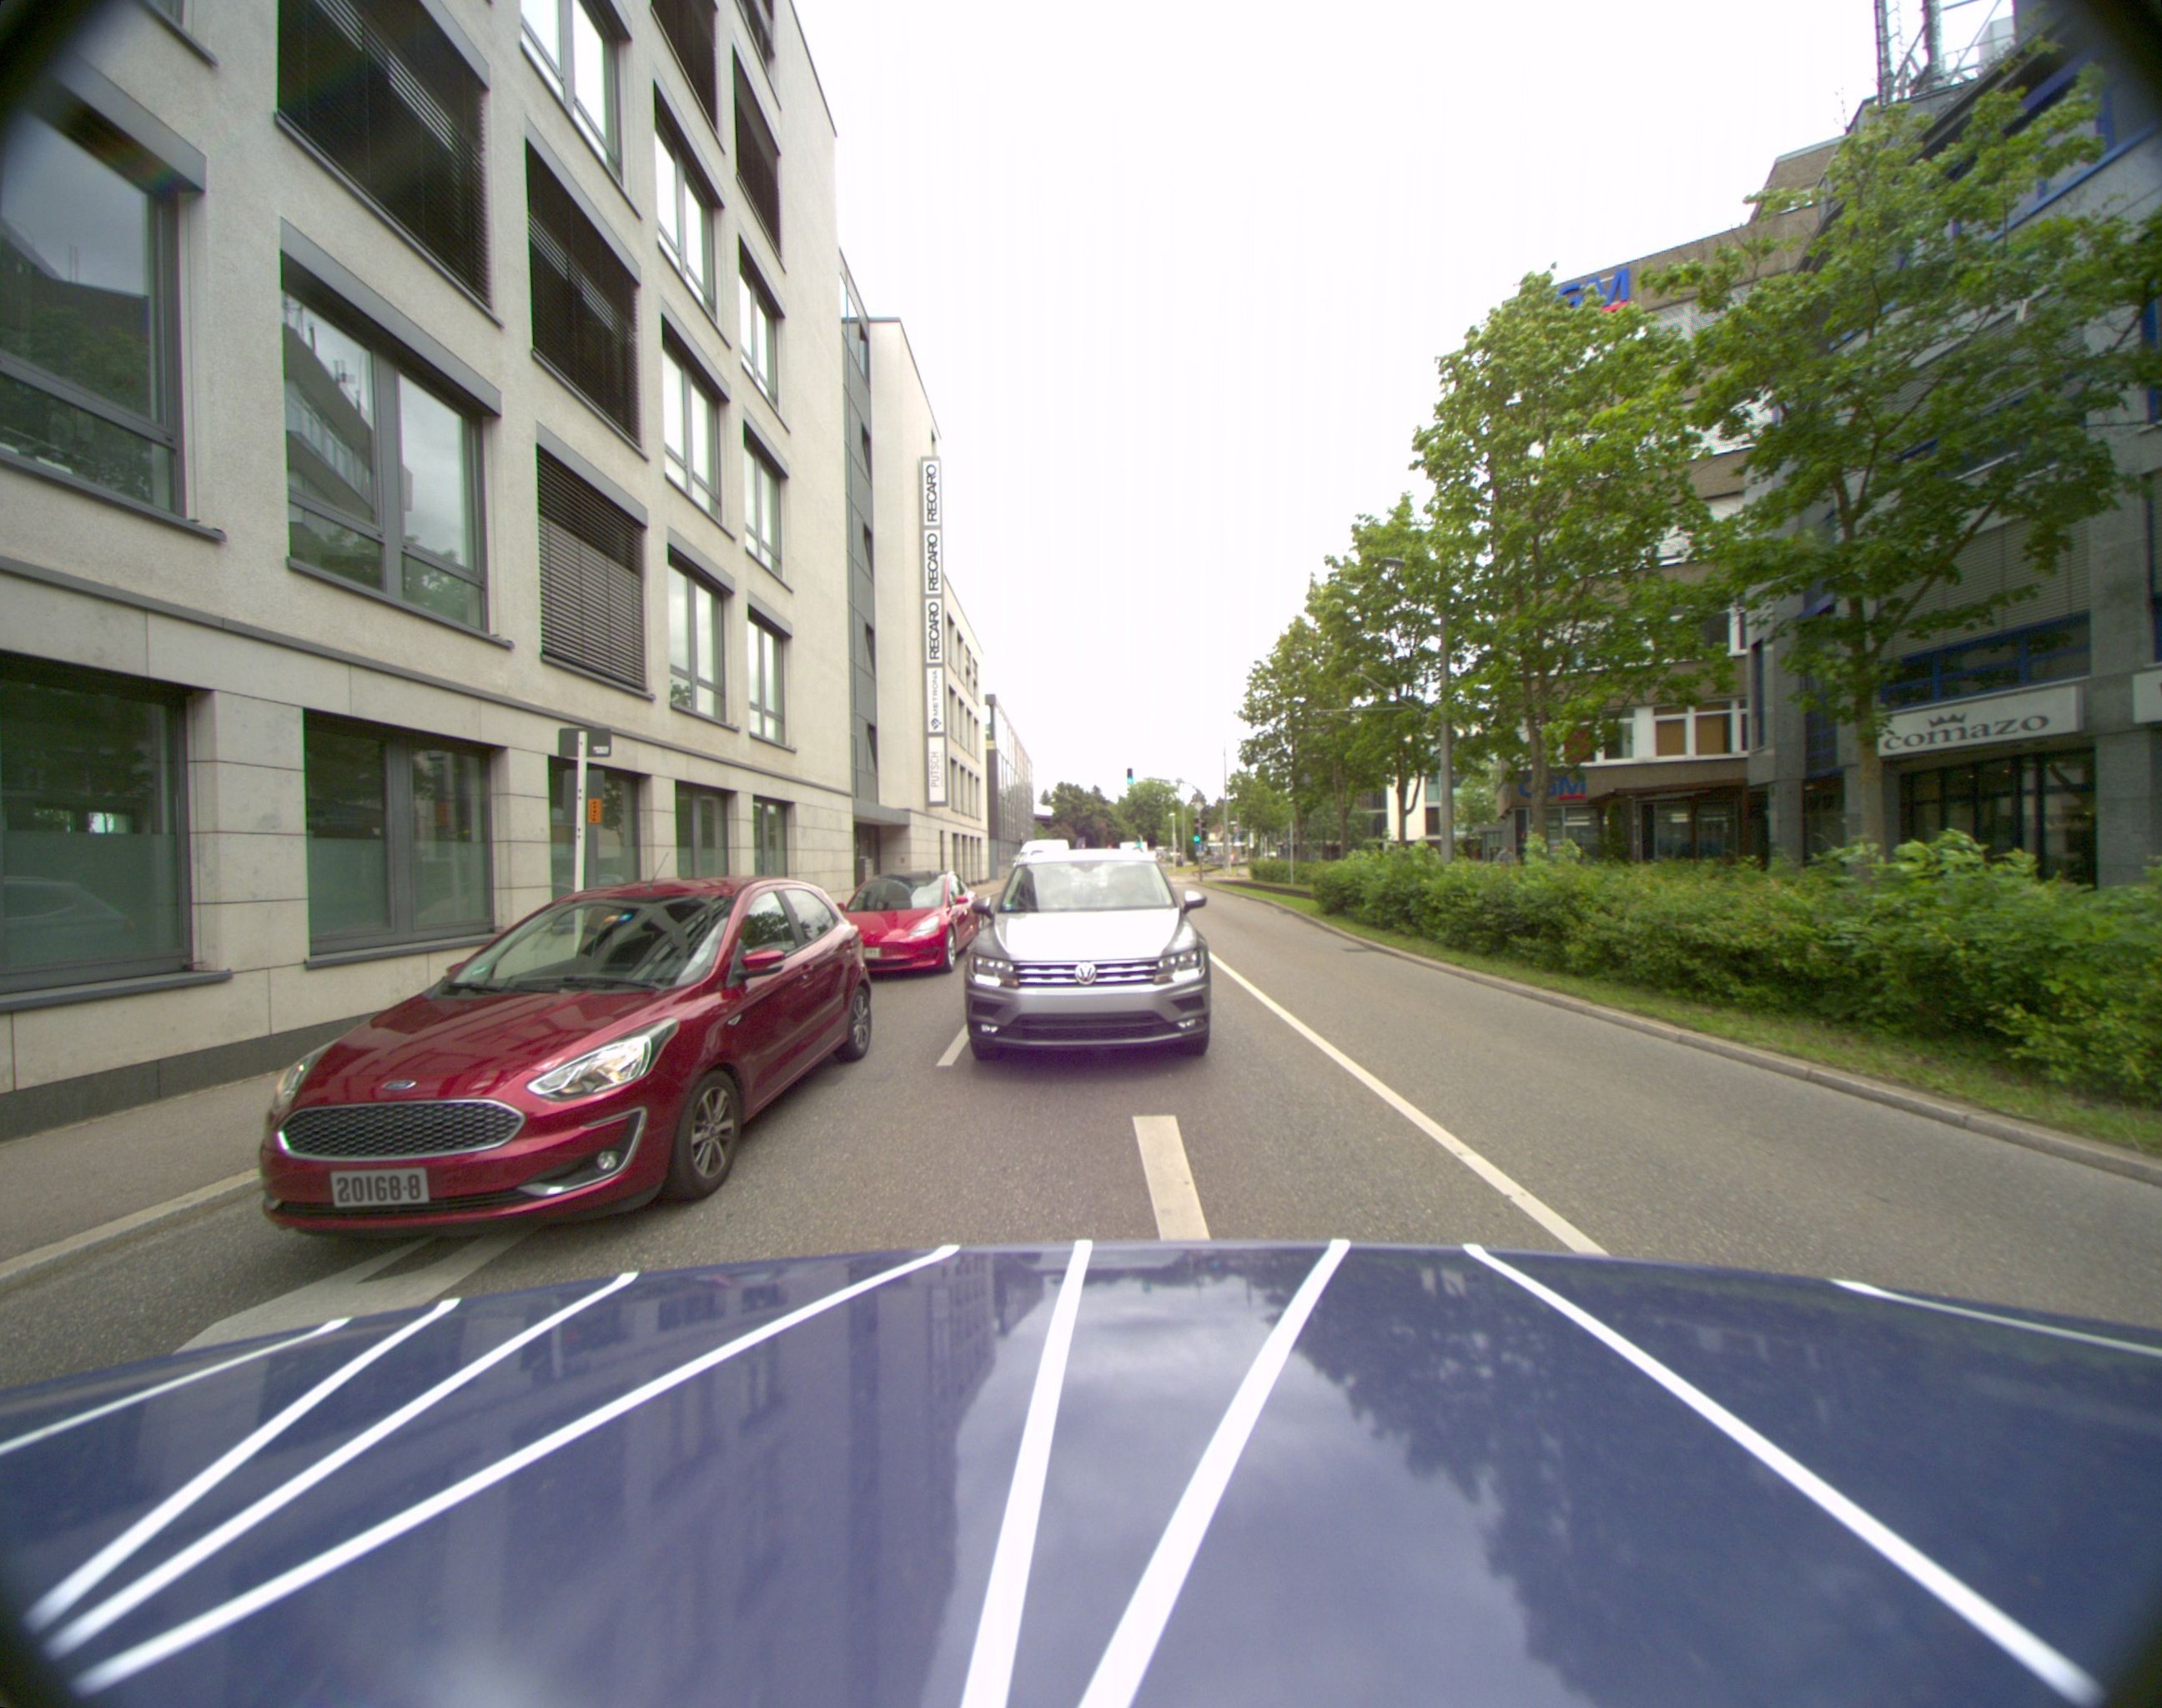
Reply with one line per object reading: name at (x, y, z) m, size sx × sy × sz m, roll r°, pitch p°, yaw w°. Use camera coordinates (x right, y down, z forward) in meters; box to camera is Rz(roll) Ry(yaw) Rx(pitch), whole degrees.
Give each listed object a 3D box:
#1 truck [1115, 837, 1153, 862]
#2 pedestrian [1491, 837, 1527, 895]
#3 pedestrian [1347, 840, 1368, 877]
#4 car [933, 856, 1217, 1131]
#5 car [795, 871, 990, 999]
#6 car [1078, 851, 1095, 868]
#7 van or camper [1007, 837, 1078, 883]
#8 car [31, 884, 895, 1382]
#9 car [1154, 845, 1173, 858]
truck at (8.207, -0.707, 116.843) m, size 2.317 × 3.626 × 8.024 m, roll -1°, pitch 1°, yaw 31°
pedestrian at (13.568, 0.368, 24.123) m, size 0.680 × 1.795 × 0.731 m, roll -2°, pitch 1°, yaw -4°
pedestrian at (14.834, 0.242, 40.783) m, size 0.816 × 1.912 × 0.731 m, roll -2°, pitch 1°, yaw 0°
car at (-0.006, 0.914, 7.146) m, size 1.798 × 1.716 × 4.458 m, roll -1°, pitch 0°, yaw 1°
car at (-2.670, 1.084, 11.879) m, size 1.825 × 1.449 × 4.408 m, roll -3°, pitch 0°, yaw 1°
car at (0.722, 0.672, 96.032) m, size 1.998 × 2.002 × 4.000 m, roll -2°, pitch 1°, yaw 1°
van or camper at (-2.386, 0.321, 49.338) m, size 2.109 × 2.718 × 6.160 m, roll -1°, pitch 1°, yaw 21°
car at (-2.636, 1.051, 4.640) m, size 1.890 × 1.483 × 4.000 m, roll -4°, pitch 0°, yaw 1°
car at (13.934, -0.374, 127.978) m, size 1.995 × 2.002 × 4.006 m, roll -1°, pitch 1°, yaw 24°
